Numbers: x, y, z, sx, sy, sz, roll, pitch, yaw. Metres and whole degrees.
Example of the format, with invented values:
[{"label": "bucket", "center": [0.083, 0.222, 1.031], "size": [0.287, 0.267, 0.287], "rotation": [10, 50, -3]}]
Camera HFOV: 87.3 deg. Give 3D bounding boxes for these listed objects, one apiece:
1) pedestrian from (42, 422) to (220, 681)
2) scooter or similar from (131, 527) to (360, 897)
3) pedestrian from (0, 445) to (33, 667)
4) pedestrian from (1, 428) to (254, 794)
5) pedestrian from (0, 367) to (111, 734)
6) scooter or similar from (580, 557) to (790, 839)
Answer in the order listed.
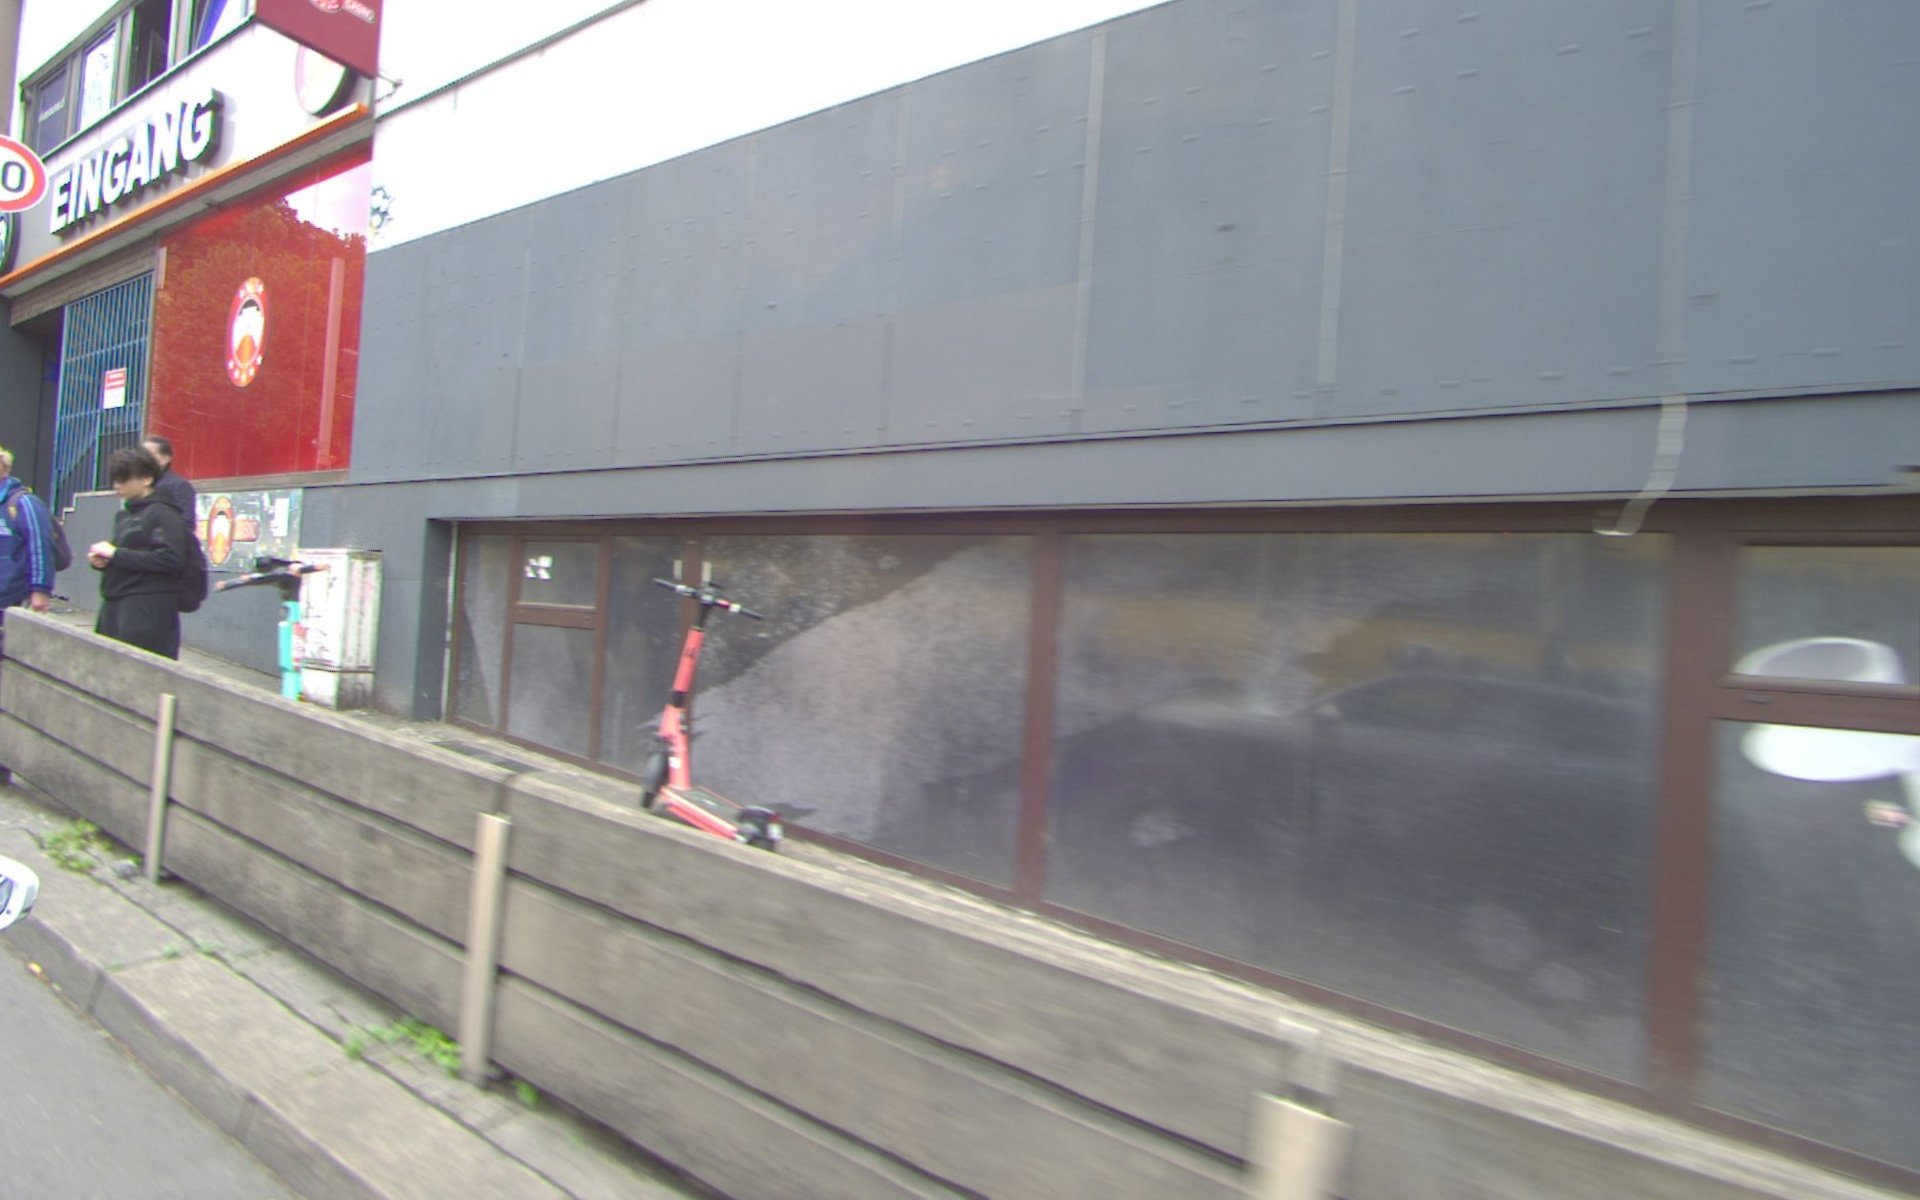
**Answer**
[{"label": "pedestrian", "center": [-6.283, -0.349, 7.640], "size": [0.643, 1.829, 0.727], "rotation": [7, -1, 34]}, {"label": "scooter or similar", "center": [-2.826, 0.401, 3.968], "size": [0.800, 1.292, 0.354], "rotation": [7, 0, 32]}, {"label": "pedestrian", "center": [-7.520, -0.347, 7.630], "size": [0.581, 1.676, 0.561], "rotation": [7, 6, 33]}, {"label": "pedestrian", "center": [-4.487, 0.062, 5.442], "size": [0.644, 1.815, 0.738], "rotation": [7, -1, 34]}, {"label": "pedestrian", "center": [-5.788, -0.303, 5.922], "size": [0.766, 2.090, 0.946], "rotation": [7, 2, 34]}, {"label": "scooter or similar", "center": [-1.452, 0.475, 5.266], "size": [0.965, 1.292, 0.427], "rotation": [7, 1, 36]}]
